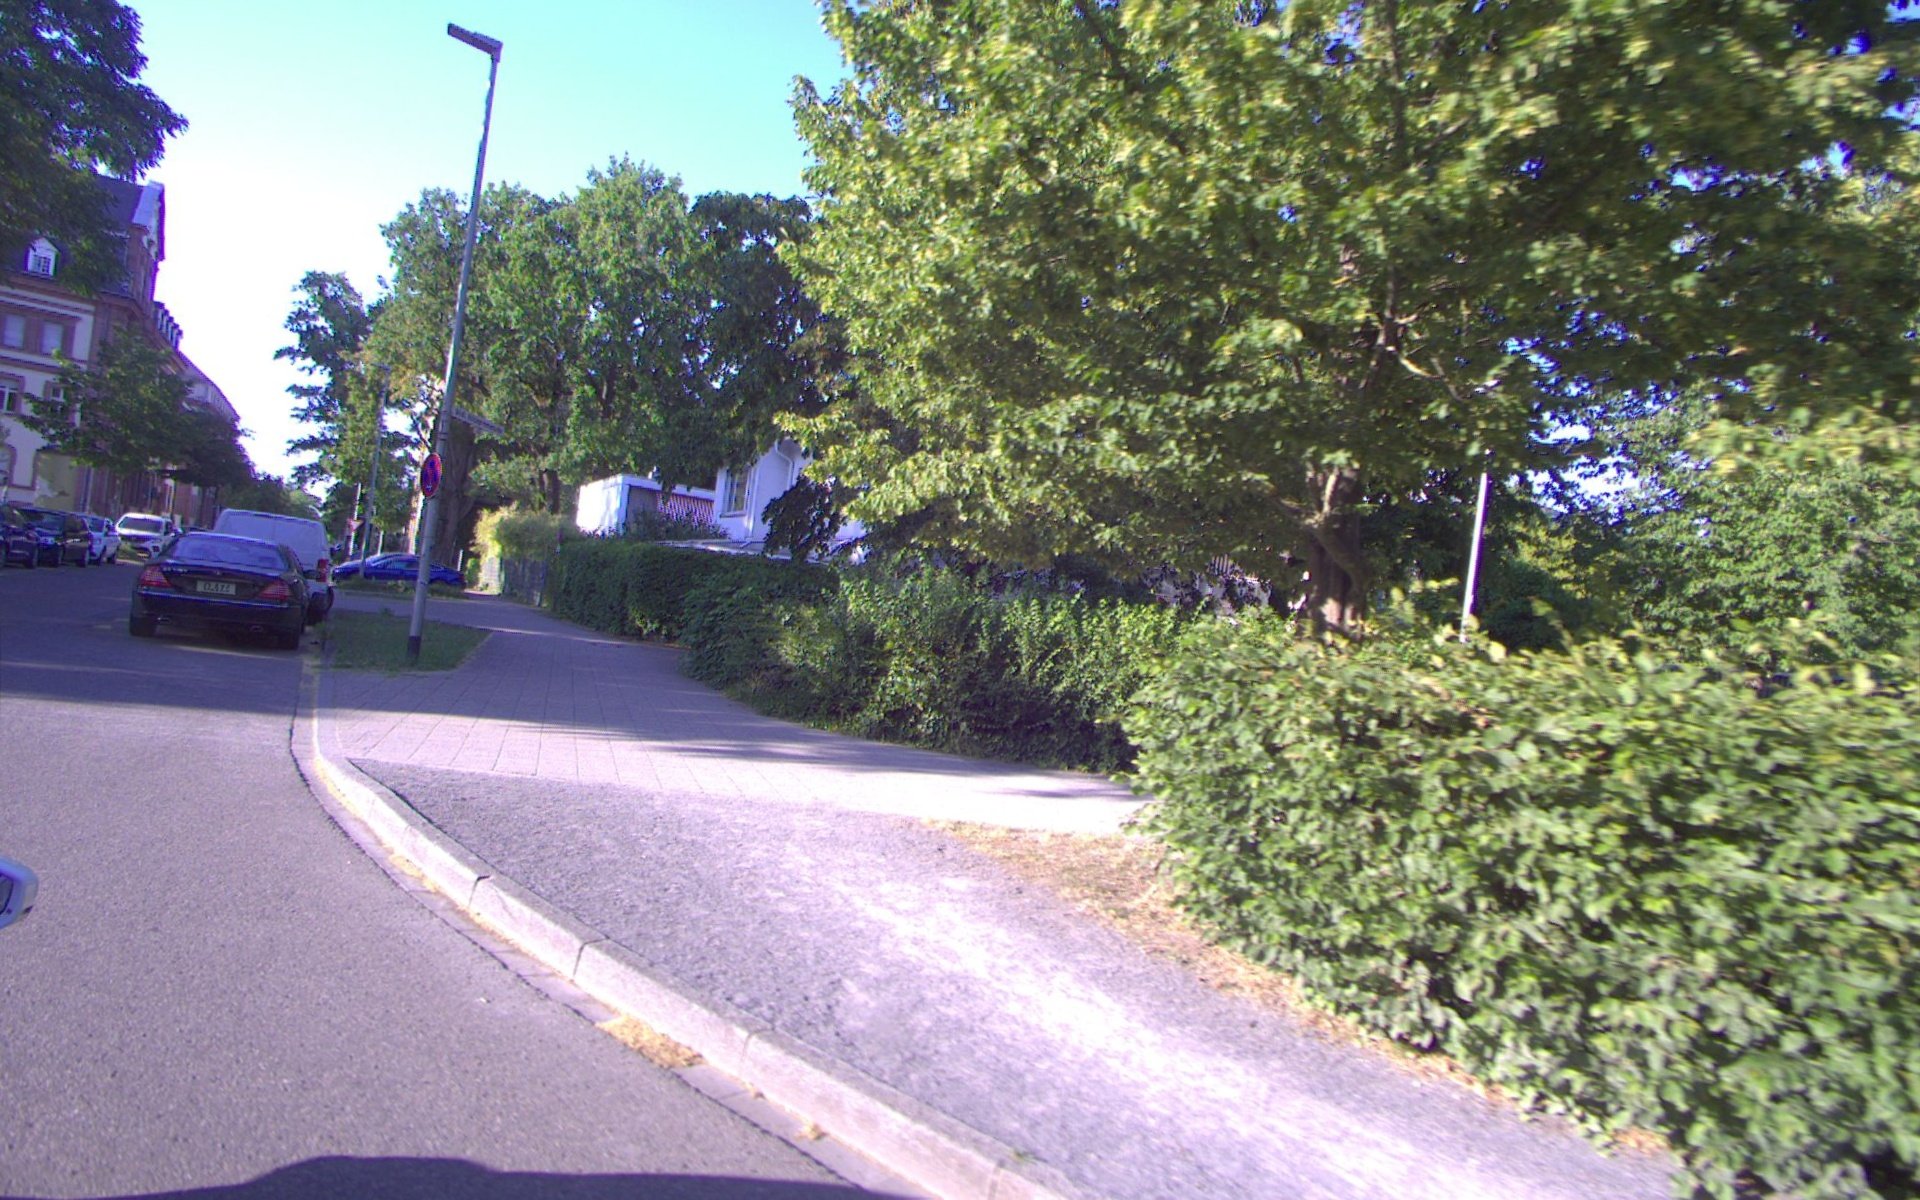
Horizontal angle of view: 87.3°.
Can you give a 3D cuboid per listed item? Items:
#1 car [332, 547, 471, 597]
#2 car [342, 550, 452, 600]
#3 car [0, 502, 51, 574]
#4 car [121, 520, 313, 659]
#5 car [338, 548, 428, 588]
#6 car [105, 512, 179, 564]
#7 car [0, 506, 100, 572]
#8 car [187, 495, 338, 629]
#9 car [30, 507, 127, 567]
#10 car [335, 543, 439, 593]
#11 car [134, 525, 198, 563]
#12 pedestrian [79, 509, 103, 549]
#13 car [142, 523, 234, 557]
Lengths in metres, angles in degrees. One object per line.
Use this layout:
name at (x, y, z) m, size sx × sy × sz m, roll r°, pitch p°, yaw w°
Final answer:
car at (-21.749, -1.044, 39.284) m, size 4.554 × 1.432 × 1.908 m, roll 6°, pitch -2°, yaw -31°
car at (-23.179, -1.017, 41.459) m, size 3.662 × 1.541 × 1.774 m, roll 8°, pitch -2°, yaw -36°
car at (-22.189, -1.509, 22.701) m, size 1.628 × 1.512 × 3.676 m, roll 10°, pitch -3°, yaw -31°
car at (-10.360, -0.208, 14.325) m, size 1.755 × 1.485 × 4.823 m, roll 8°, pitch -2°, yaw -33°
car at (-30.286, -1.633, 52.873) m, size 3.926 × 1.533 × 1.860 m, roll 8°, pitch -3°, yaw -31°
car at (-34.897, -2.609, 43.010) m, size 1.770 × 1.862 × 4.514 m, roll 8°, pitch -2°, yaw -33°
car at (-24.652, -1.624, 26.949) m, size 1.539 × 1.512 × 3.915 m, roll 8°, pitch -2°, yaw -29°
car at (-13.385, -0.739, 19.487) m, size 1.941 × 2.037 × 5.108 m, roll 8°, pitch -2°, yaw -33°
car at (-27.360, -1.932, 31.330) m, size 1.582 × 1.544 × 3.832 m, roll 8°, pitch -2°, yaw -33°
car at (-24.696, -1.360, 43.376) m, size 3.483 × 1.603 × 1.741 m, roll 9°, pitch -2°, yaw -42°
car at (-39.018, -2.735, 49.528) m, size 1.769 × 1.522 × 4.516 m, roll 8°, pitch -2°, yaw -32°
pedestrian at (-40.551, -3.308, 46.933) m, size 0.596 × 1.805 × 0.937 m, roll 7°, pitch -1°, yaw -35°
car at (-53.442, -4.149, 69.758) m, size 4.815 × 1.612 × 1.825 m, roll 9°, pitch -2°, yaw -35°
